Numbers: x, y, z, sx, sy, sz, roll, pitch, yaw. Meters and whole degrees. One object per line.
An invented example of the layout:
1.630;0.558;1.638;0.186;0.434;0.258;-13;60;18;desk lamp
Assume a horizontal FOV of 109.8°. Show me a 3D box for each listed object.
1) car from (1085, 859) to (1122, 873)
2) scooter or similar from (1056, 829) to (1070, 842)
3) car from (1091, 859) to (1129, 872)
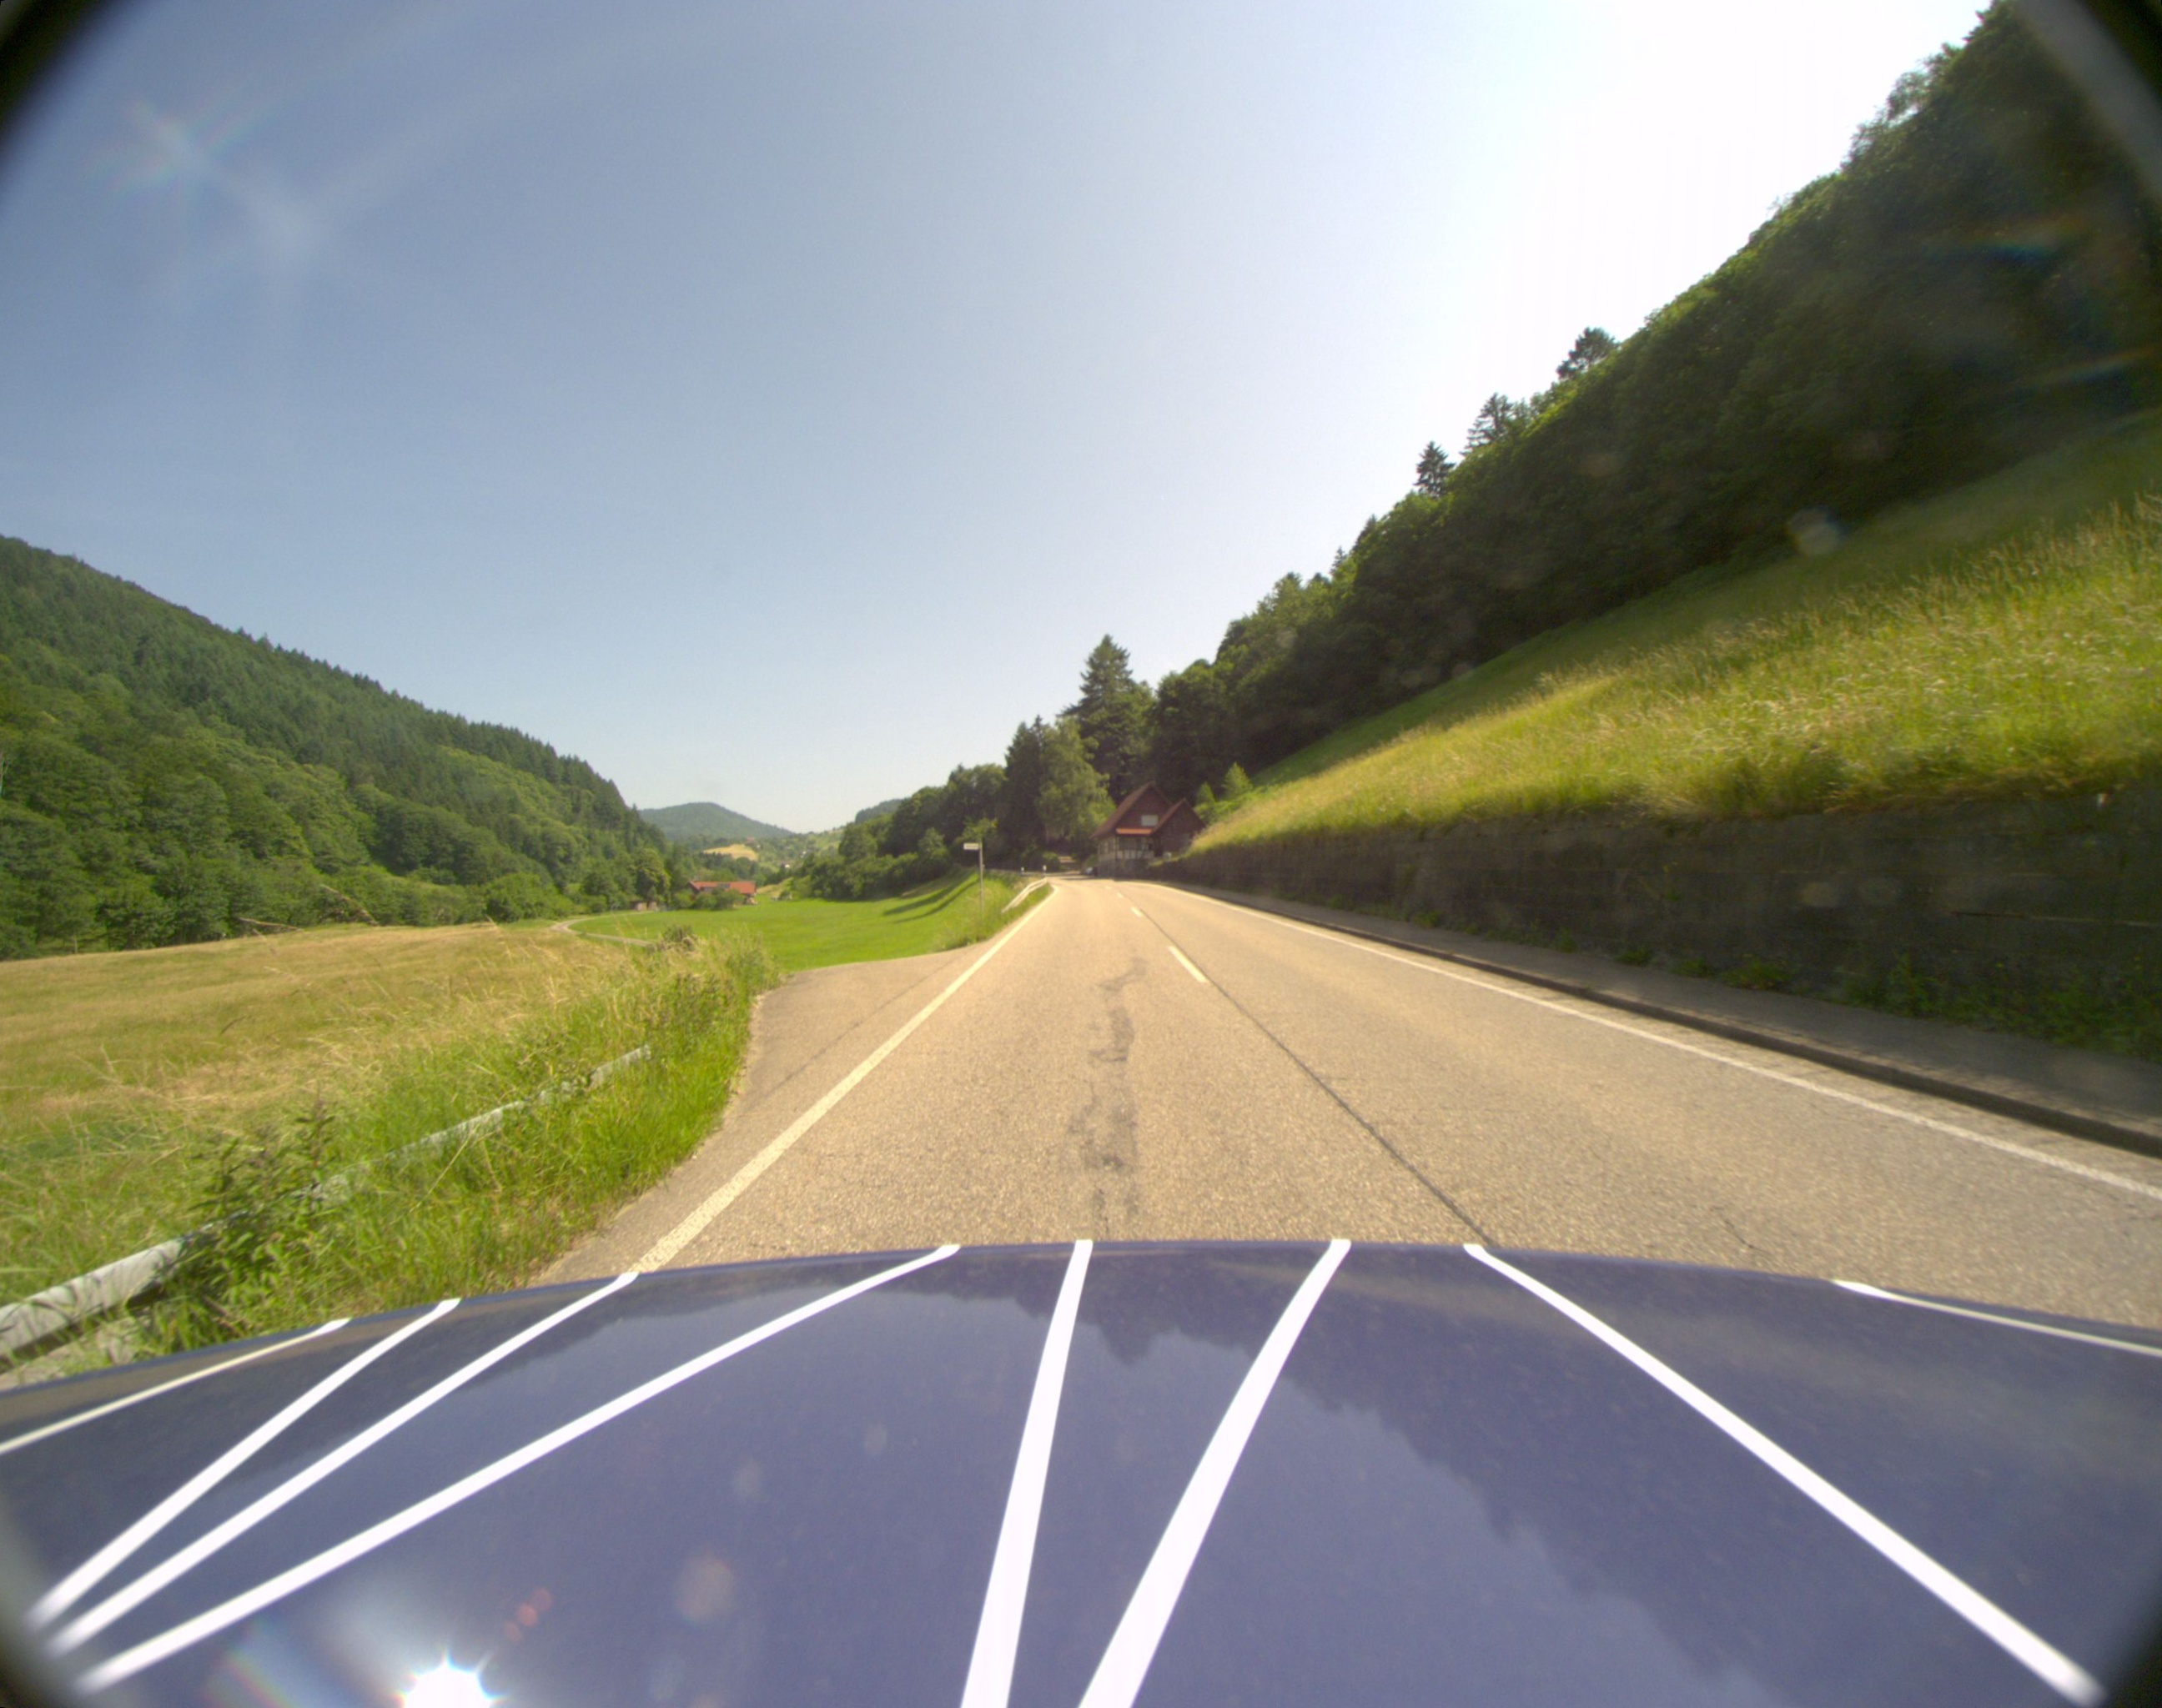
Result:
2.497;1.367;85.592;3.830;1.408;1.855;-1;-1;-14;car
-3.296;-3.393;140.340;1.983;2.015;4.402;-5;1;-6;scooter or similar
3.141;1.269;83.467;3.830;1.424;1.861;0;1;-13;car
